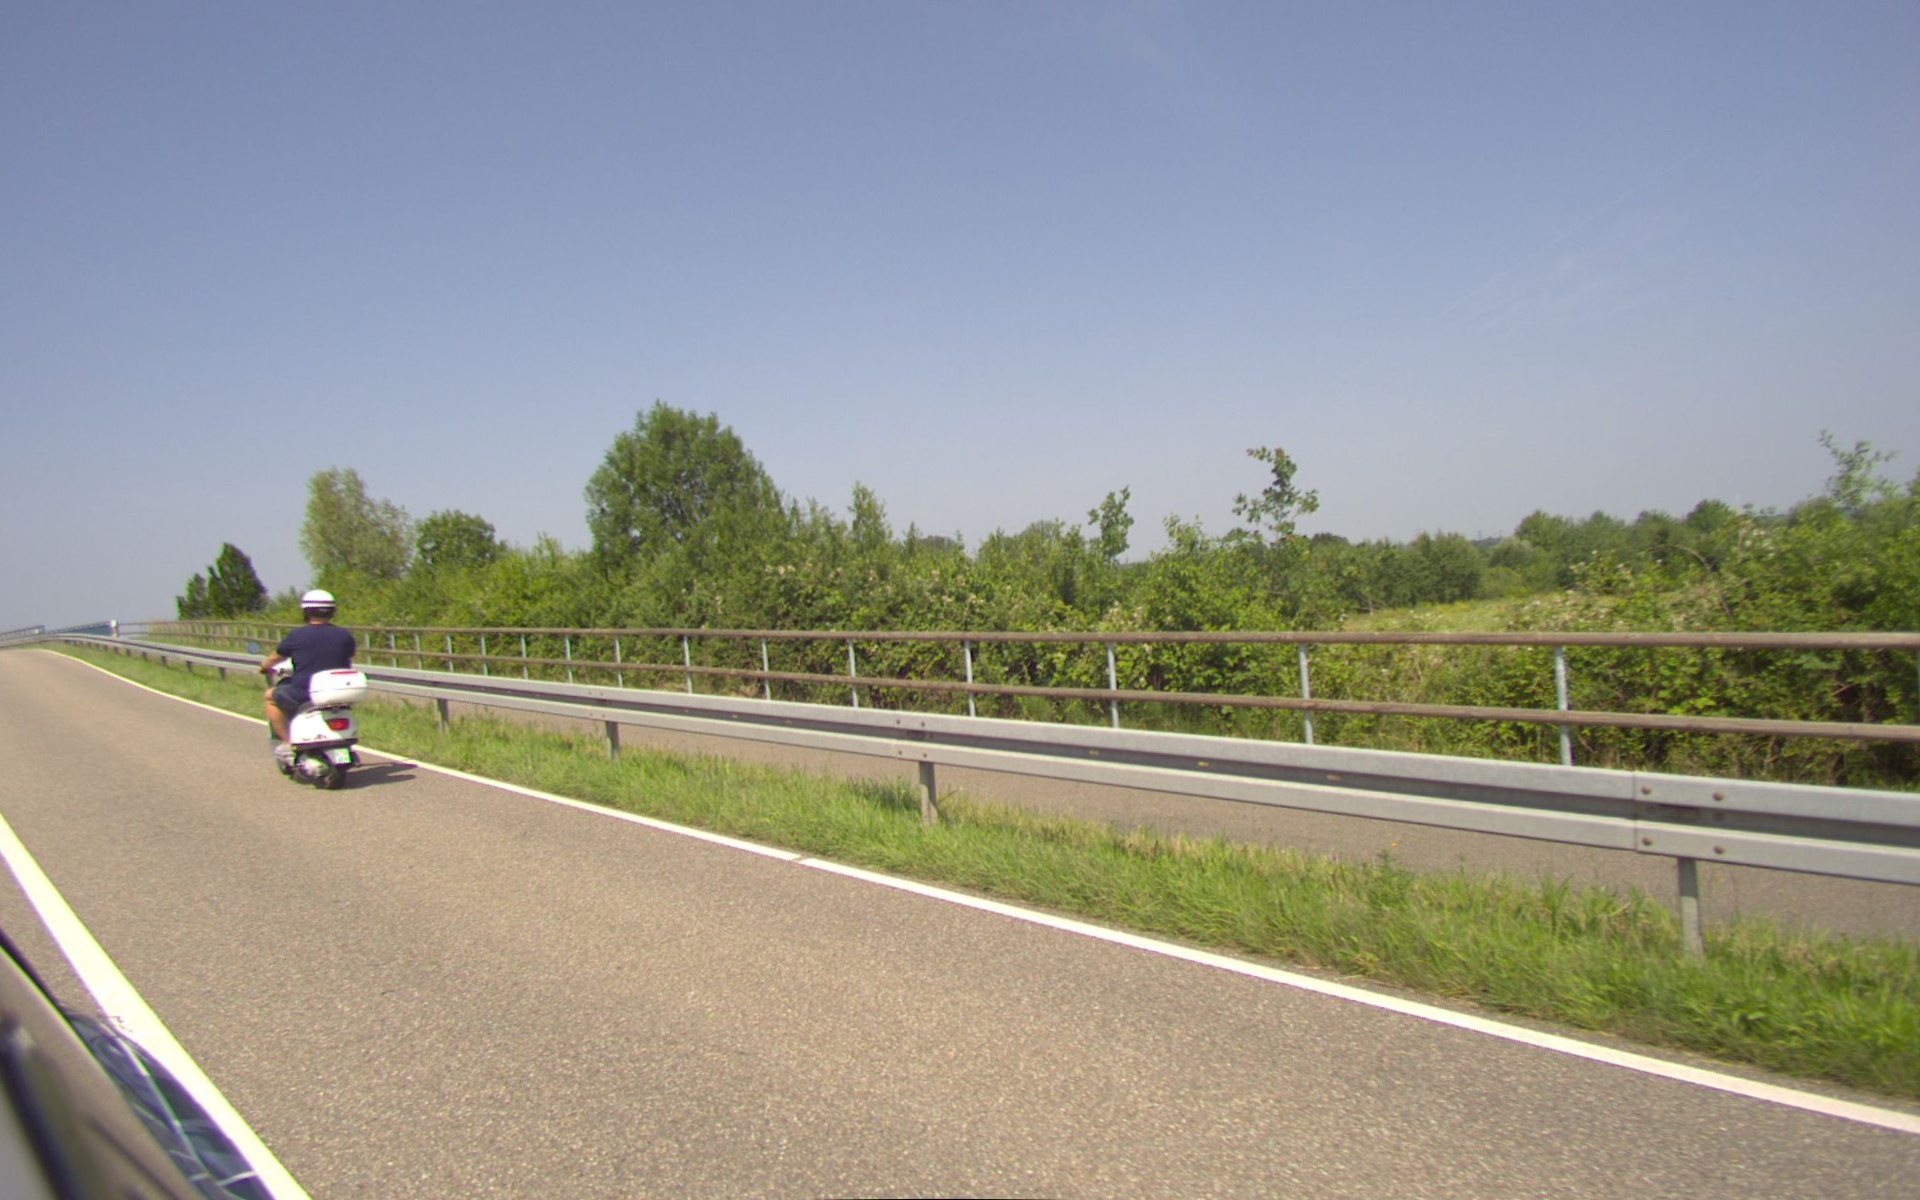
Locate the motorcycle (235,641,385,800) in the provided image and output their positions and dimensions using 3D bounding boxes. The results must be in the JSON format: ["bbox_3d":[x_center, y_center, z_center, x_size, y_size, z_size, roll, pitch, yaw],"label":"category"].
[{"bbox_3d":[-5.674,0.988,8.804,1.637,1.233,0.636,-2,-1,40],"label":"motorcycle"}]

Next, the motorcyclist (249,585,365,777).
[{"bbox_3d":[-5.684,0.673,8.807,0.774,1.574,0.647,-2,-1,39],"label":"motorcyclist"}]
